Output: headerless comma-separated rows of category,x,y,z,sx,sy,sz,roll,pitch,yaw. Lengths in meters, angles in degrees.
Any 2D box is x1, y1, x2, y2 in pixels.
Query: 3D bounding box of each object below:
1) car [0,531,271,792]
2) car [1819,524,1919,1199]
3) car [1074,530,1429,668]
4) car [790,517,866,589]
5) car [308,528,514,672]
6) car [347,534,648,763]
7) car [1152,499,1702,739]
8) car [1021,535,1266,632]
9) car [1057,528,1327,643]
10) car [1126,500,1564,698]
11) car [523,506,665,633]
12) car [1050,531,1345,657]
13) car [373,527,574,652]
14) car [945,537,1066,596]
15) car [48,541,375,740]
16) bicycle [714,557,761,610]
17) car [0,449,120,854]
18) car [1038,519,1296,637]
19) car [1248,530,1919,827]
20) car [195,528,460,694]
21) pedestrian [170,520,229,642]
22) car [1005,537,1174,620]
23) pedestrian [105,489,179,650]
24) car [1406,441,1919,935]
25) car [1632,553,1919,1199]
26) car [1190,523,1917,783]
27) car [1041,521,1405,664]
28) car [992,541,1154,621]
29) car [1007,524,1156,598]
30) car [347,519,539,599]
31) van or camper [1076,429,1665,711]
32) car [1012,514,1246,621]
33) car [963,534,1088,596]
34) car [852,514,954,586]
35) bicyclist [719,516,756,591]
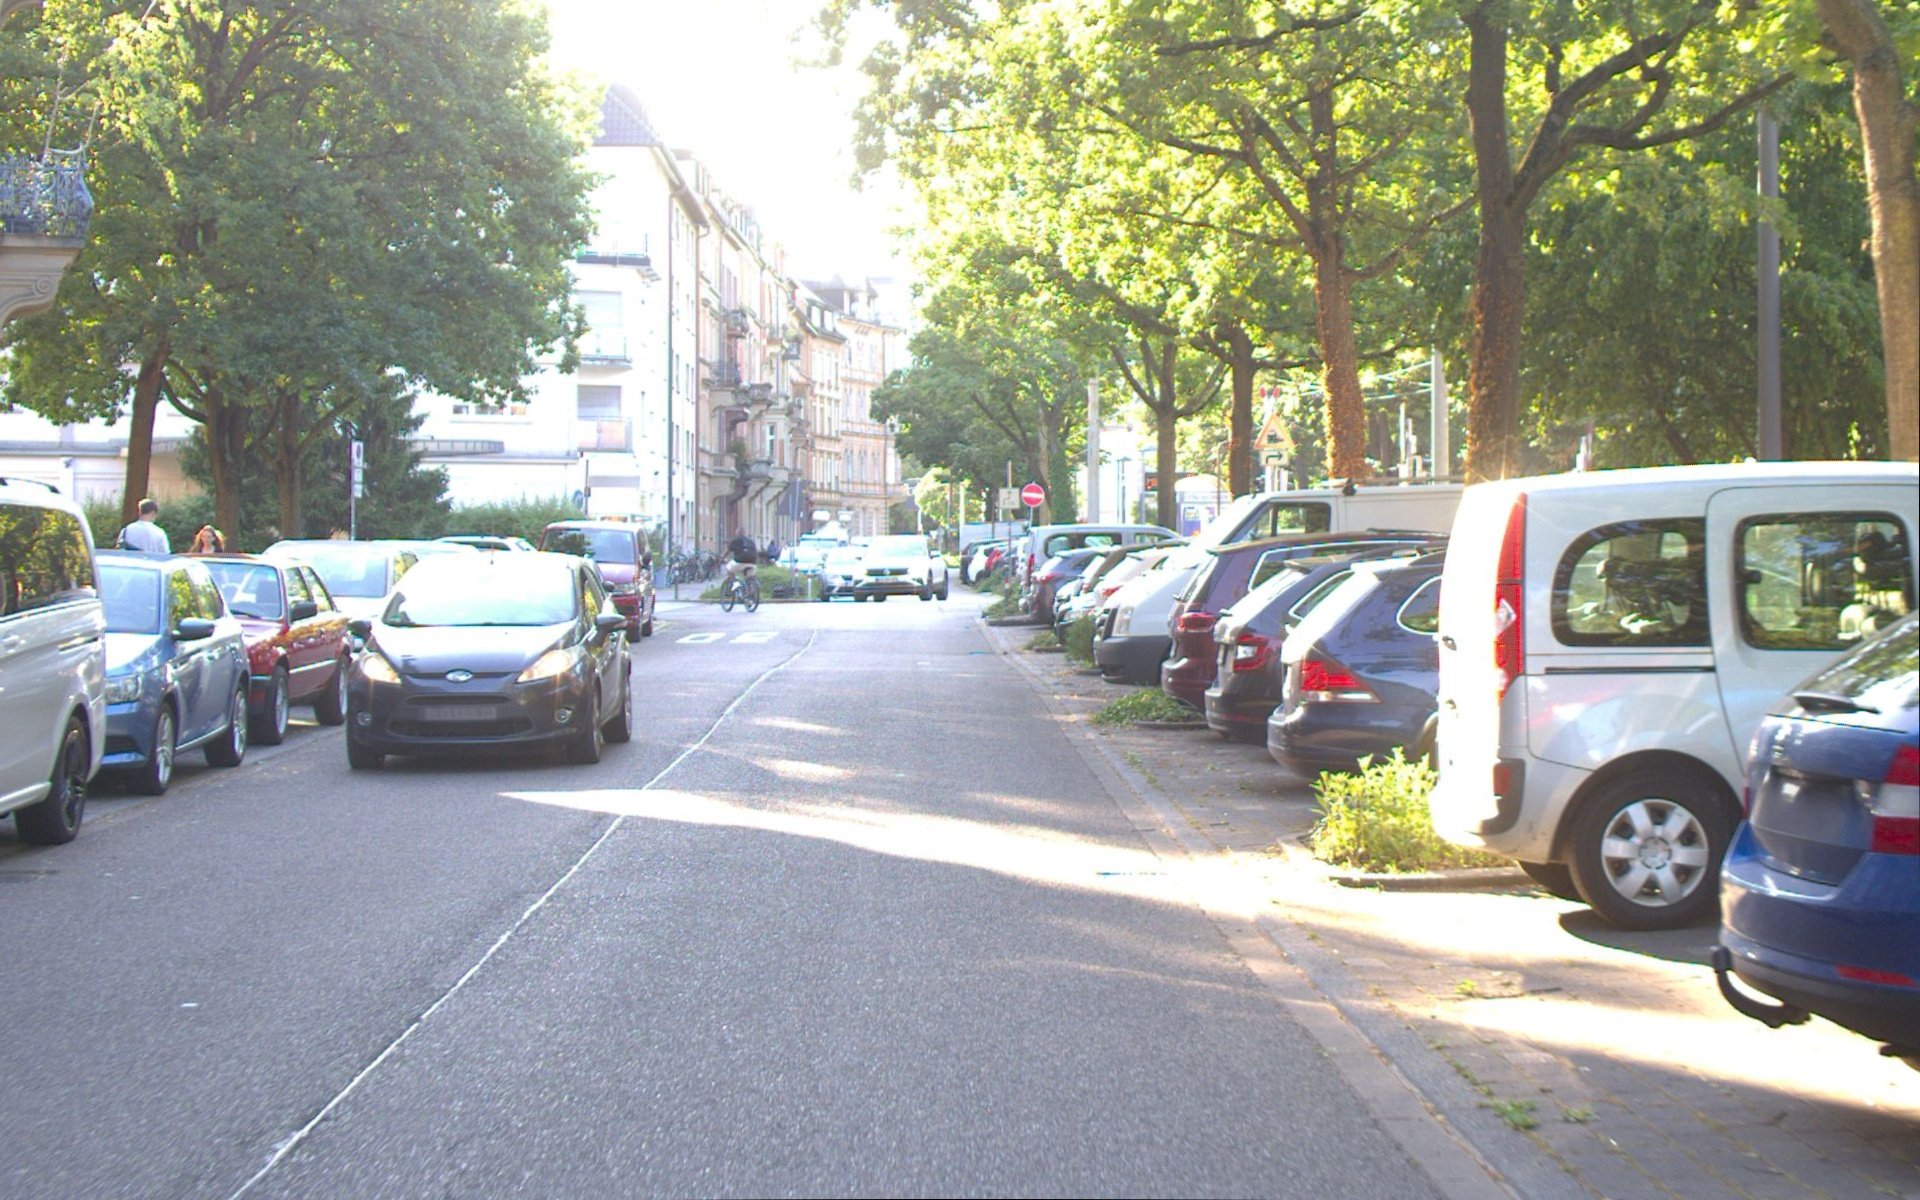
car,-5.638,0.324,22.113,1.669,1.481,4.000,2,1,-2
car,3.611,0.561,6.161,3.674,1.496,1.762,-2,1,1
car,3.453,0.002,41.225,3.986,1.543,1.859,1,-1,-3
car,-3.572,-1.266,93.535,1.993,1.831,4.000,1,-1,-2
car,-6.117,-0.037,38.715,1.756,1.510,4.162,1,1,-2
car,-3.192,0.277,24.377,1.668,1.459,4.000,-1,1,-2
car,3.549,0.129,26.669,3.987,1.685,1.859,-2,1,1
car,3.113,-0.269,58.837,3.986,1.558,1.859,1,-1,-3
car,3.601,-0.214,53.868,3.986,1.694,1.859,1,-1,-3
car,3.736,-0.027,33.796,3.986,1.811,1.859,1,1,-3
car,-6.072,-0.529,57.501,1.957,2.011,4.268,1,1,-1
car,3.361,-0.075,49.206,3.986,1.694,1.859,1,-1,-3
car,-6.067,-0.158,43.311,1.756,1.461,4.267,1,1,2
car,1.646,-1.181,122.562,3.989,2.007,1.999,1,-1,11
car,-5.852,0.261,27.345,1.670,1.425,4.241,1,1,0
bicycle,-4.726,-0.346,73.002,0.641,1.096,1.944,1,-1,-14
car,-5.538,0.230,16.277,1.993,1.914,5.040,1,-1,-2
car,3.358,-0.340,56.164,3.986,1.819,1.859,1,-1,-3
car,3.719,0.391,18.700,4.220,1.448,1.649,-2,1,4
car,-5.958,0.059,32.779,1.704,1.424,3.877,2,1,1
pedestrian,-9.816,-0.255,44.398,0.597,1.545,0.708,0,3,-1
car,3.310,-0.551,87.457,3.989,2.007,1.999,1,-1,11
pedestrian,-8.605,-0.332,36.162,0.597,1.662,0.708,0,3,-1
car,4.078,0.291,14.140,4.220,1.857,1.762,-2,1,1
car,3.959,0.565,8.725,4.081,1.437,1.762,-2,1,-3
car,3.628,0.304,21.595,4.220,1.448,1.865,-2,1,1
car,3.310,-0.087,43.841,4.389,1.694,1.859,1,-1,-3
car,2.998,-0.493,90.992,3.989,2.007,1.999,1,-1,11
car,3.492,-1.108,98.542,3.989,2.007,1.999,1,-1,11
car,-11.676,-0.921,77.851,3.987,1.700,2.000,1,-1,1
van or camper,3.644,-0.248,31.227,4.981,2.369,2.185,1,-1,-2
car,2.995,-0.565,61.509,3.986,1.788,1.859,1,-1,-3
car,2.272,-1.207,118.995,3.989,2.007,1.999,1,-1,11
car,-1.349,-1.217,83.557,1.779,1.668,4.485,1,1,8
bicyclist,-4.728,-0.991,73.055,0.627,1.568,0.802,1,-1,-14
